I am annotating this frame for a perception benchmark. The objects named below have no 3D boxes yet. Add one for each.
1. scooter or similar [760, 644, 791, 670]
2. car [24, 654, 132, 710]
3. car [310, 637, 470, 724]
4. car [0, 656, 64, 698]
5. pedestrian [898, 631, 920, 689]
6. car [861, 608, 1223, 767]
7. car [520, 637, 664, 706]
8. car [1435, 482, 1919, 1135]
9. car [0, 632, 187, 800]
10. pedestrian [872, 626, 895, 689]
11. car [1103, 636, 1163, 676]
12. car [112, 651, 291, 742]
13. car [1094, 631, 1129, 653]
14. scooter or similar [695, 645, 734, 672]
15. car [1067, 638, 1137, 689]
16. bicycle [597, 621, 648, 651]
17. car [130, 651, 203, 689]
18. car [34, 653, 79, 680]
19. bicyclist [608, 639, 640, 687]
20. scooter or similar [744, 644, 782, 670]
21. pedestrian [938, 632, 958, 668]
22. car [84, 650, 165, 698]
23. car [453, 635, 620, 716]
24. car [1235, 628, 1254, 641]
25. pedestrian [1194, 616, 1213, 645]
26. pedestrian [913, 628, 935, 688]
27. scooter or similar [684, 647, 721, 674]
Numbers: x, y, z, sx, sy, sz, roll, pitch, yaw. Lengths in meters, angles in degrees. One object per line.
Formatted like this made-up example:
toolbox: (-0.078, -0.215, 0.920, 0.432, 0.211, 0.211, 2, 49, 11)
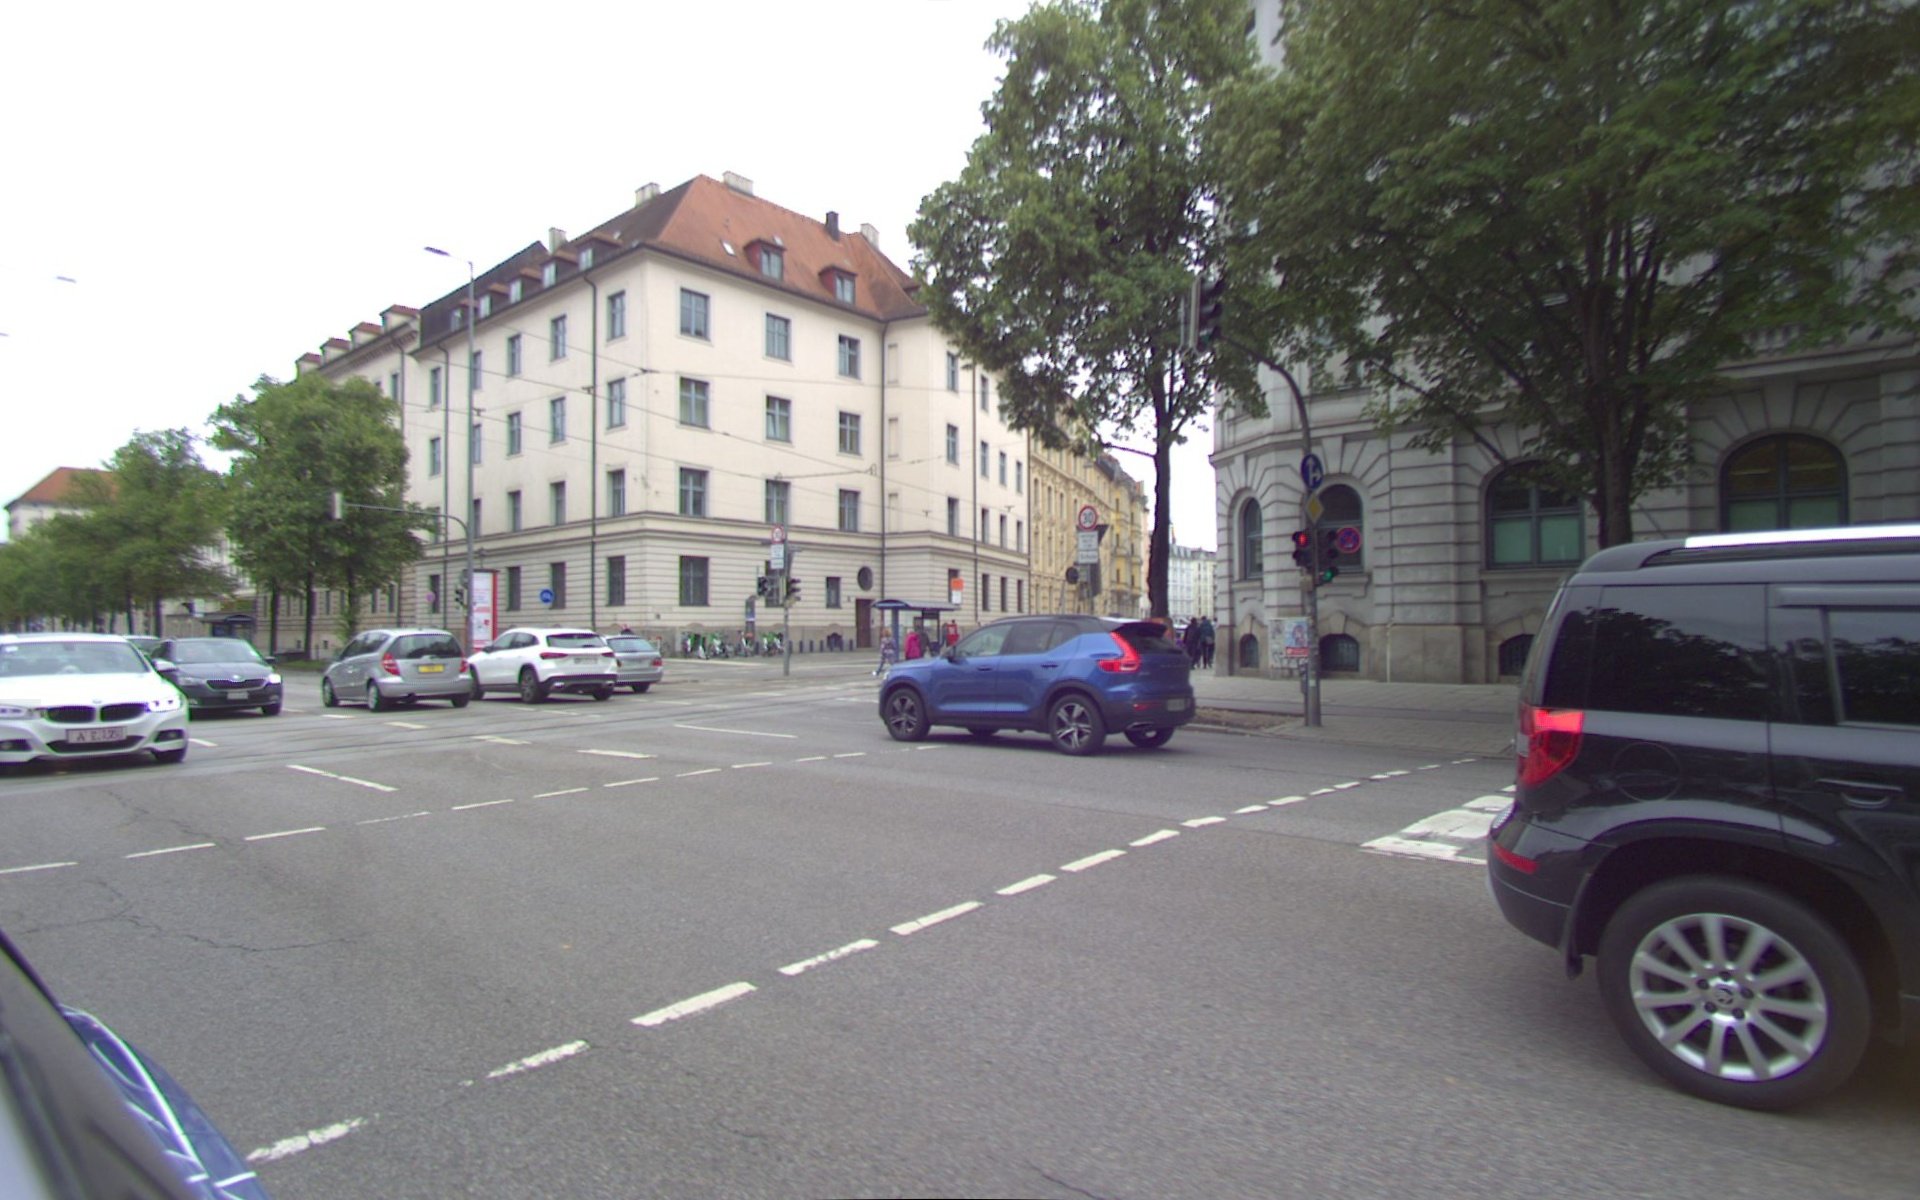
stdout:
scooter or similar: (-8.572, 2.640, 46.949, 1.546, 1.127, 0.539, -3, -2, 42)
car: (-25.591, 2.317, 29.315, 4.272, 1.458, 1.774, -2, -3, 41)
car: (-11.560, 1.573, 20.431, 3.944, 1.584, 1.617, -3, -3, 41)
car: (-36.635, 2.971, 39.608, 4.272, 1.458, 1.774, -2, -3, 41)
pedestrian: (-1.588, 1.844, 31.280, 0.494, 1.752, 0.471, 1, -2, -31)
car: (0.902, 1.031, 12.793, 4.348, 1.668, 1.821, -2, -4, 41)
car: (-9.372, 1.746, 25.617, 4.055, 1.588, 1.716, -2, -3, 41)
car: (3.711, 0.510, 2.587, 4.202, 1.649, 1.705, -2, -3, 41)
car: (-11.013, 1.233, 12.130, 5.023, 1.649, 1.774, -2, -3, 41)
pedestrian: (-2.318, 1.726, 30.624, 0.494, 1.869, 0.529, 1, -2, -31)
car: (7.145, 2.274, 41.541, 1.682, 1.530, 3.546, -2, -3, 22)
car: (-14.135, 1.695, 18.769, 4.272, 1.458, 1.774, -2, -3, 41)
car: (11.625, 3.242, 77.617, 1.984, 1.608, 3.698, -2, -3, 19)
scooter or similar: (-10.855, 2.578, 44.699, 1.947, 1.127, 0.681, -3, -1, 42)
car: (5.172, 2.254, 36.484, 1.682, 1.744, 3.546, -2, -3, 22)
bicycle: (-11.613, 1.248, 34.746, 2.180, 0.995, 0.655, -3, -1, 42)
car: (-34.214, 2.979, 43.591, 4.225, 1.542, 1.735, -2, -2, 41)
car: (-57.121, 4.183, 63.948, 4.163, 1.652, 1.661, -3, -3, 42)
bicyclist: (-11.477, 2.139, 34.599, 0.892, 1.590, 0.653, -3, -2, 42)
scooter or similar: (-9.012, 2.606, 46.242, 1.901, 1.166, 0.681, -3, -1, 42)
pedestrian: (-0.617, 2.630, 53.813, 0.660, 1.866, 0.797, -3, -2, 42)
car: (-30.033, 2.619, 36.358, 3.944, 1.584, 1.617, -3, -3, 41)
car: (-9.288, 1.630, 22.080, 3.997, 1.608, 1.726, -3, -5, 41)
car: (35.273, 4.276, 125.413, 1.984, 1.608, 3.698, -2, -3, 19)
pedestrian: (13.601, 1.701, 56.579, 0.857, 1.588, 0.871, -2, -3, 22)
pedestrian: (-1.137, 1.807, 31.695, 0.494, 1.869, 0.471, 1, -2, -31)
scooter or similar: (-11.191, 2.603, 43.908, 0.680, 1.127, 1.950, -1, -2, -43)
